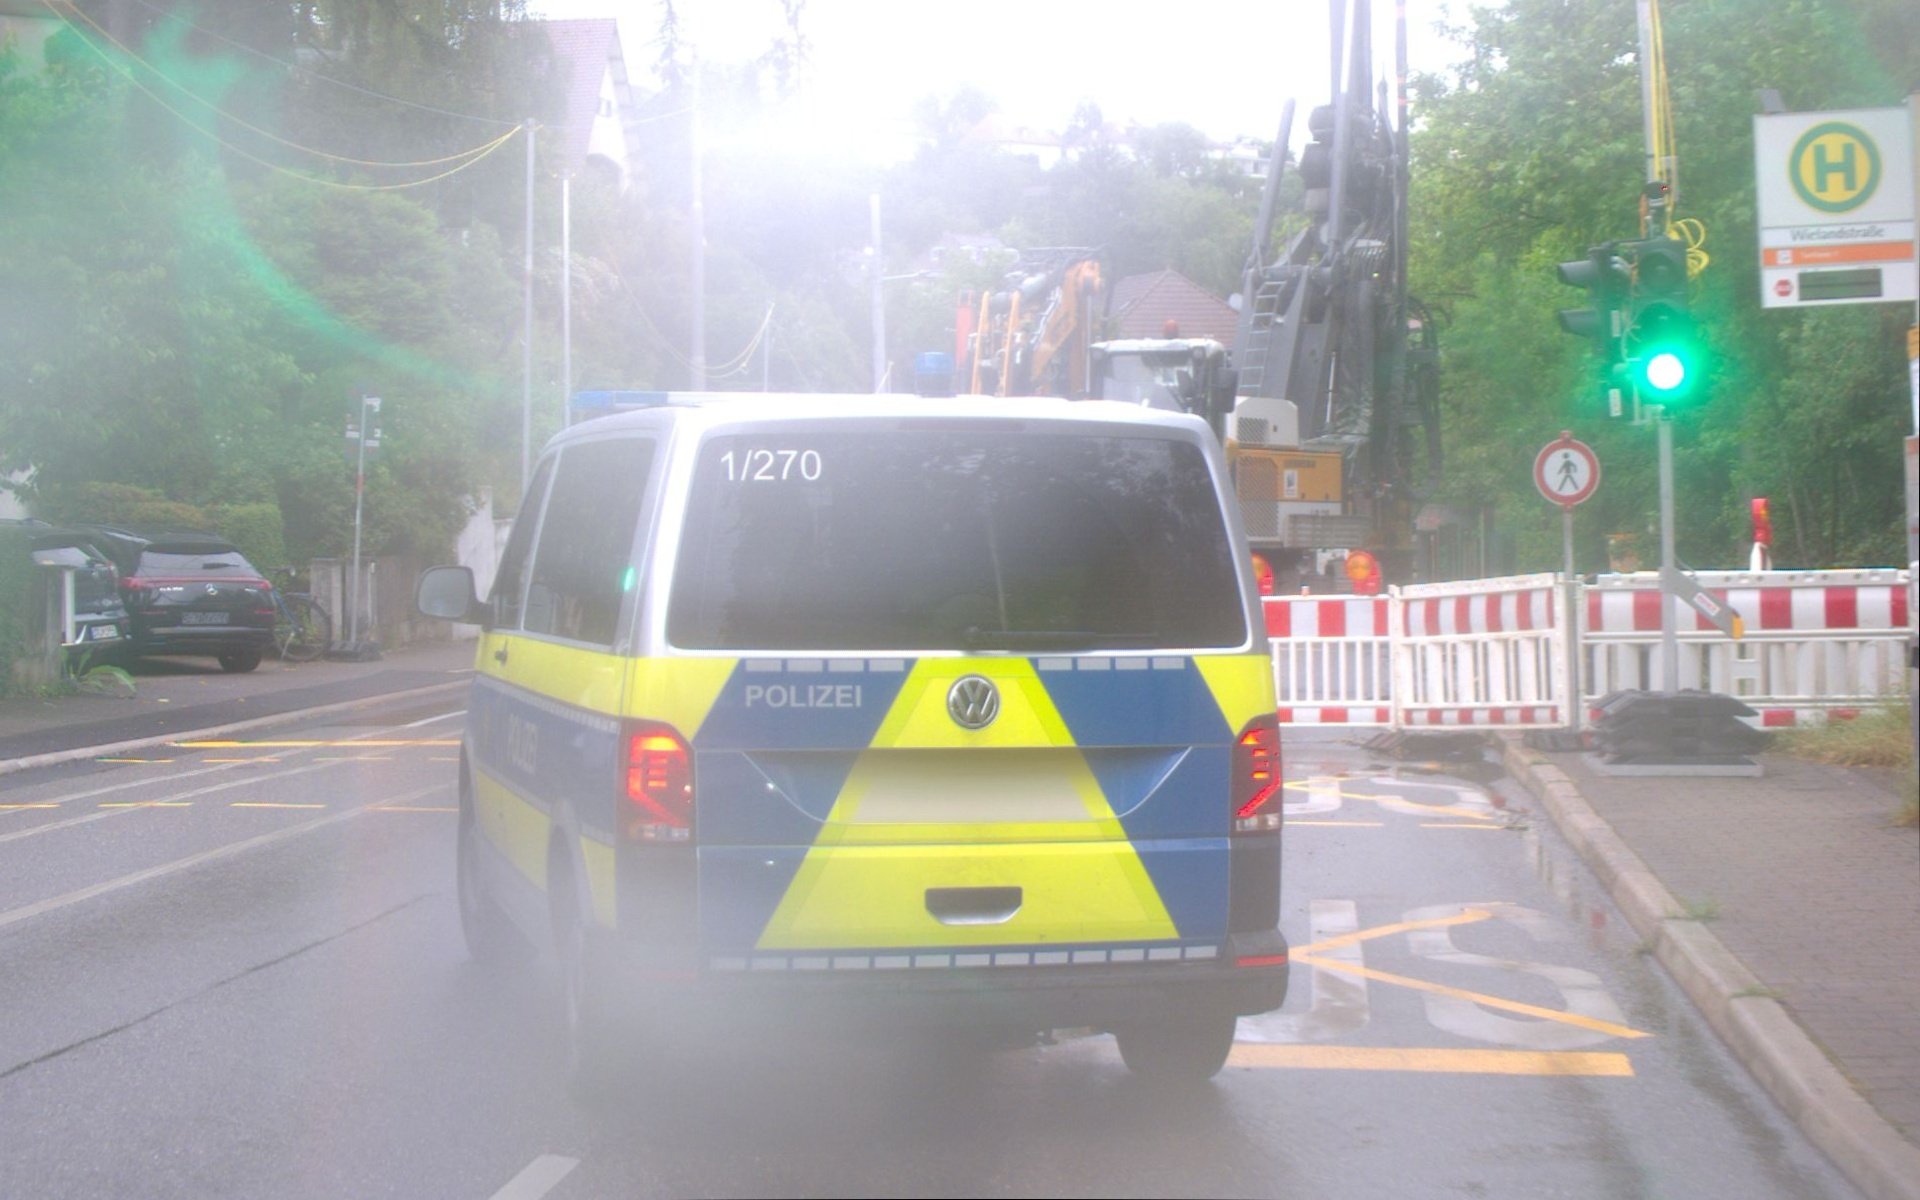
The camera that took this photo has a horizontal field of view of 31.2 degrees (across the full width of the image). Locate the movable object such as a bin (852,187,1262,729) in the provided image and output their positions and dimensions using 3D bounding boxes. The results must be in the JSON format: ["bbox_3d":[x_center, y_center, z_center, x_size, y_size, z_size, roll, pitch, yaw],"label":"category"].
[{"bbox_3d":[0.940,-1.157,28.952,2.879,4.156,4.486,-1,2,8],"label":"movable object such as a bin"}]

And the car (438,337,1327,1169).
[{"bbox_3d":[-0.496,0.359,10.646,1.907,2.003,4.441,1,0,-12],"label":"car"}]

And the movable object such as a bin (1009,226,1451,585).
[{"bbox_3d":[4.272,-2.819,52.839,3.689,5.049,7.149,-1,0,34],"label":"movable object such as a bin"}]

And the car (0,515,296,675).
[{"bbox_3d":[-8.502,-0.082,35.087,1.781,1.520,3.999,1,1,-37],"label":"car"}]

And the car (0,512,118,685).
[{"bbox_3d":[-10.081,-0.049,31.798,3.990,1.520,1.939,1,0,15],"label":"car"}]
